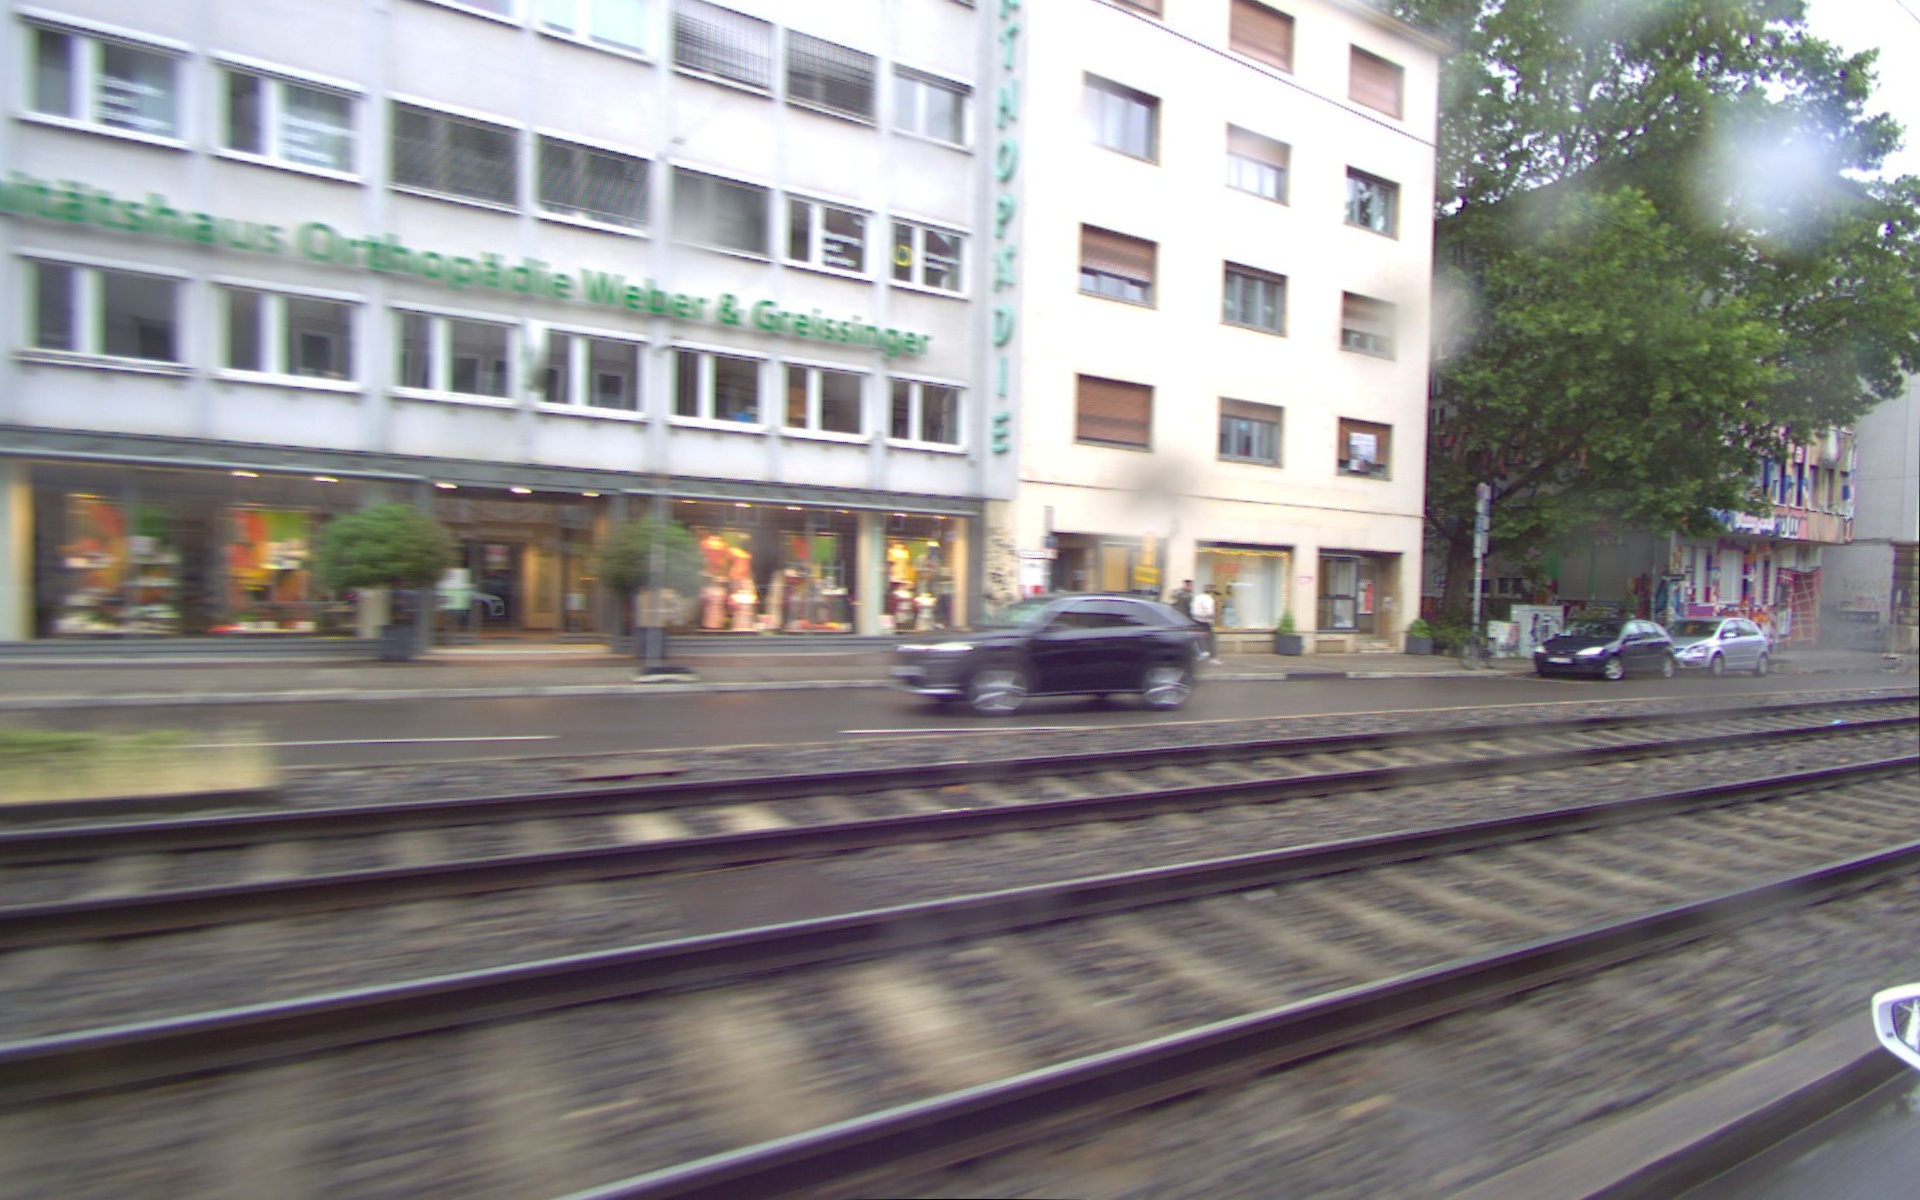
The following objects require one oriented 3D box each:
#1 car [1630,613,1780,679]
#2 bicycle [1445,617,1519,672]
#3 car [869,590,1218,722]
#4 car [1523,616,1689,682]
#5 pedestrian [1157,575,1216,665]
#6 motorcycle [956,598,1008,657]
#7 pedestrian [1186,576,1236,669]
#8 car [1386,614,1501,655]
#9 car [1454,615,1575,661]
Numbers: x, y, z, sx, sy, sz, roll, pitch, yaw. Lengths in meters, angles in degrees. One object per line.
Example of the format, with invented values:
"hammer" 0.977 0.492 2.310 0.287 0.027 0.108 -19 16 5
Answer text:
"car" 19.972 1.196 26.895 4.170 1.591 1.713 1 1 -30
"bicycle" 12.661 1.064 24.333 2.382 1.243 0.586 2 1 -37
"car" 1.162 0.698 13.764 4.387 1.539 1.986 1 1 -27
"car" 15.809 1.153 24.535 4.170 1.488 1.735 1 -1 -30
"pedestrian" 4.957 0.436 21.992 0.971 1.921 0.724 1 1 -30
"motorcycle" 0.459 0.582 21.624 0.381 1.196 1.469 1 1 -30
"pedestrian" 5.330 0.470 21.333 0.734 1.921 0.675 1 1 -30
"car" 17.863 1.234 37.071 3.954 1.383 1.983 1 0 -31
"car" 19.236 1.292 34.854 3.954 1.474 1.983 1 0 -31
